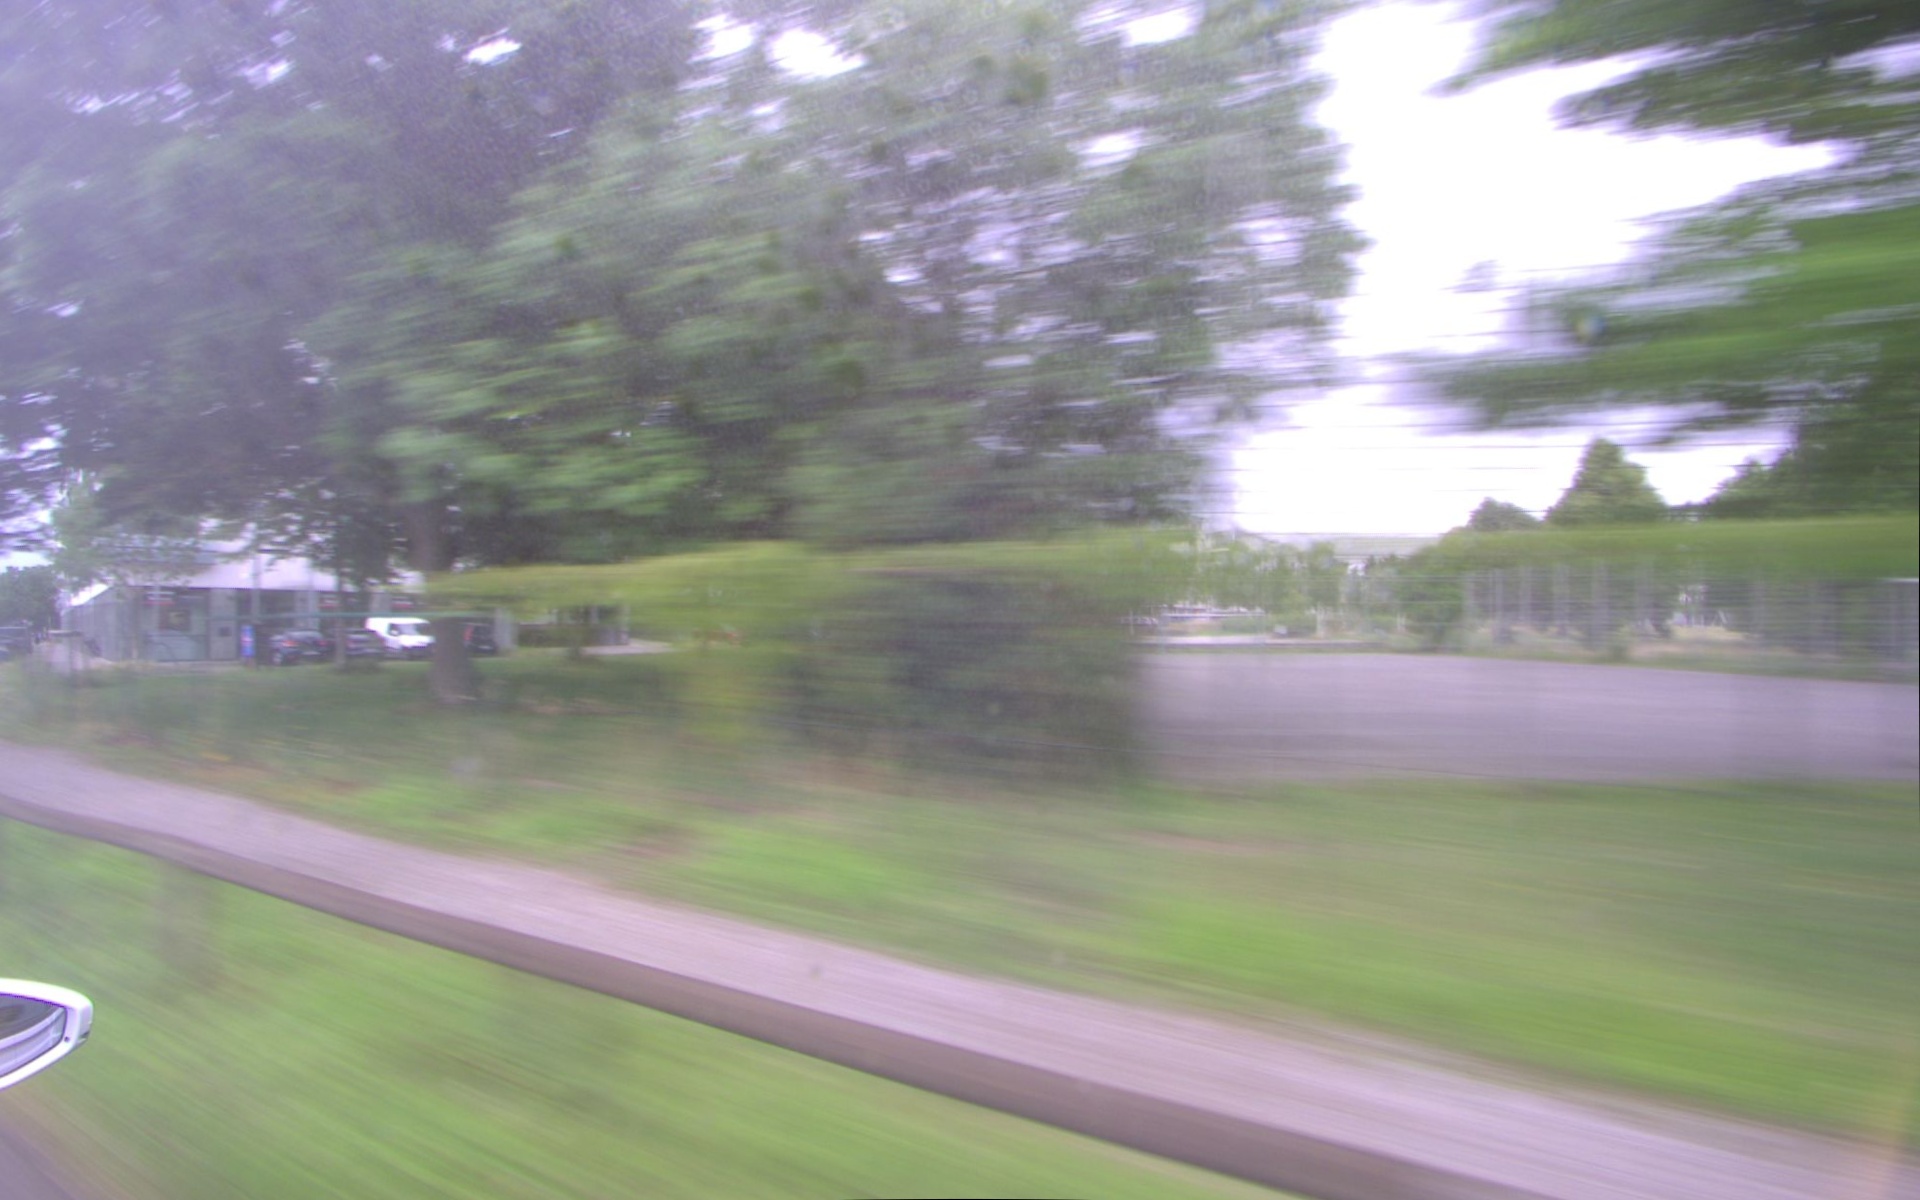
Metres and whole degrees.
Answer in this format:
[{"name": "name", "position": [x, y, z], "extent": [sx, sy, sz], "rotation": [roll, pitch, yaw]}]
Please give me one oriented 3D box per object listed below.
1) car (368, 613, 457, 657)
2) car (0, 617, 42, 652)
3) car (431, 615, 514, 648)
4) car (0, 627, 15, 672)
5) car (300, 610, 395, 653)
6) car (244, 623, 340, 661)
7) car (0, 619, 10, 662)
[{"name": "car", "position": [-24.154, 1.533, 44.166], "extent": [3.943, 1.854, 1.794], "rotation": [-1, -1, 33]}, {"name": "car", "position": [-42.531, 1.463, 42.797], "extent": [4.830, 1.520, 1.824], "rotation": [2, -1, -44]}, {"name": "car", "position": [-22.843, 1.455, 46.908], "extent": [3.717, 1.449, 1.820], "rotation": [-1, -1, 32]}, {"name": "car", "position": [-37.982, 1.818, 36.691], "extent": [4.830, 1.637, 1.824], "rotation": [2, -1, -44]}, {"name": "car", "position": [-25.761, 1.312, 42.075], "extent": [3.899, 1.721, 1.851], "rotation": [0, -1, 32]}, {"name": "car", "position": [-26.692, 1.658, 40.000], "extent": [3.717, 1.449, 1.820], "rotation": [-1, -1, 32]}, {"name": "car", "position": [-39.758, 1.541, 38.359], "extent": [4.830, 1.684, 1.824], "rotation": [2, -1, -44]}]
